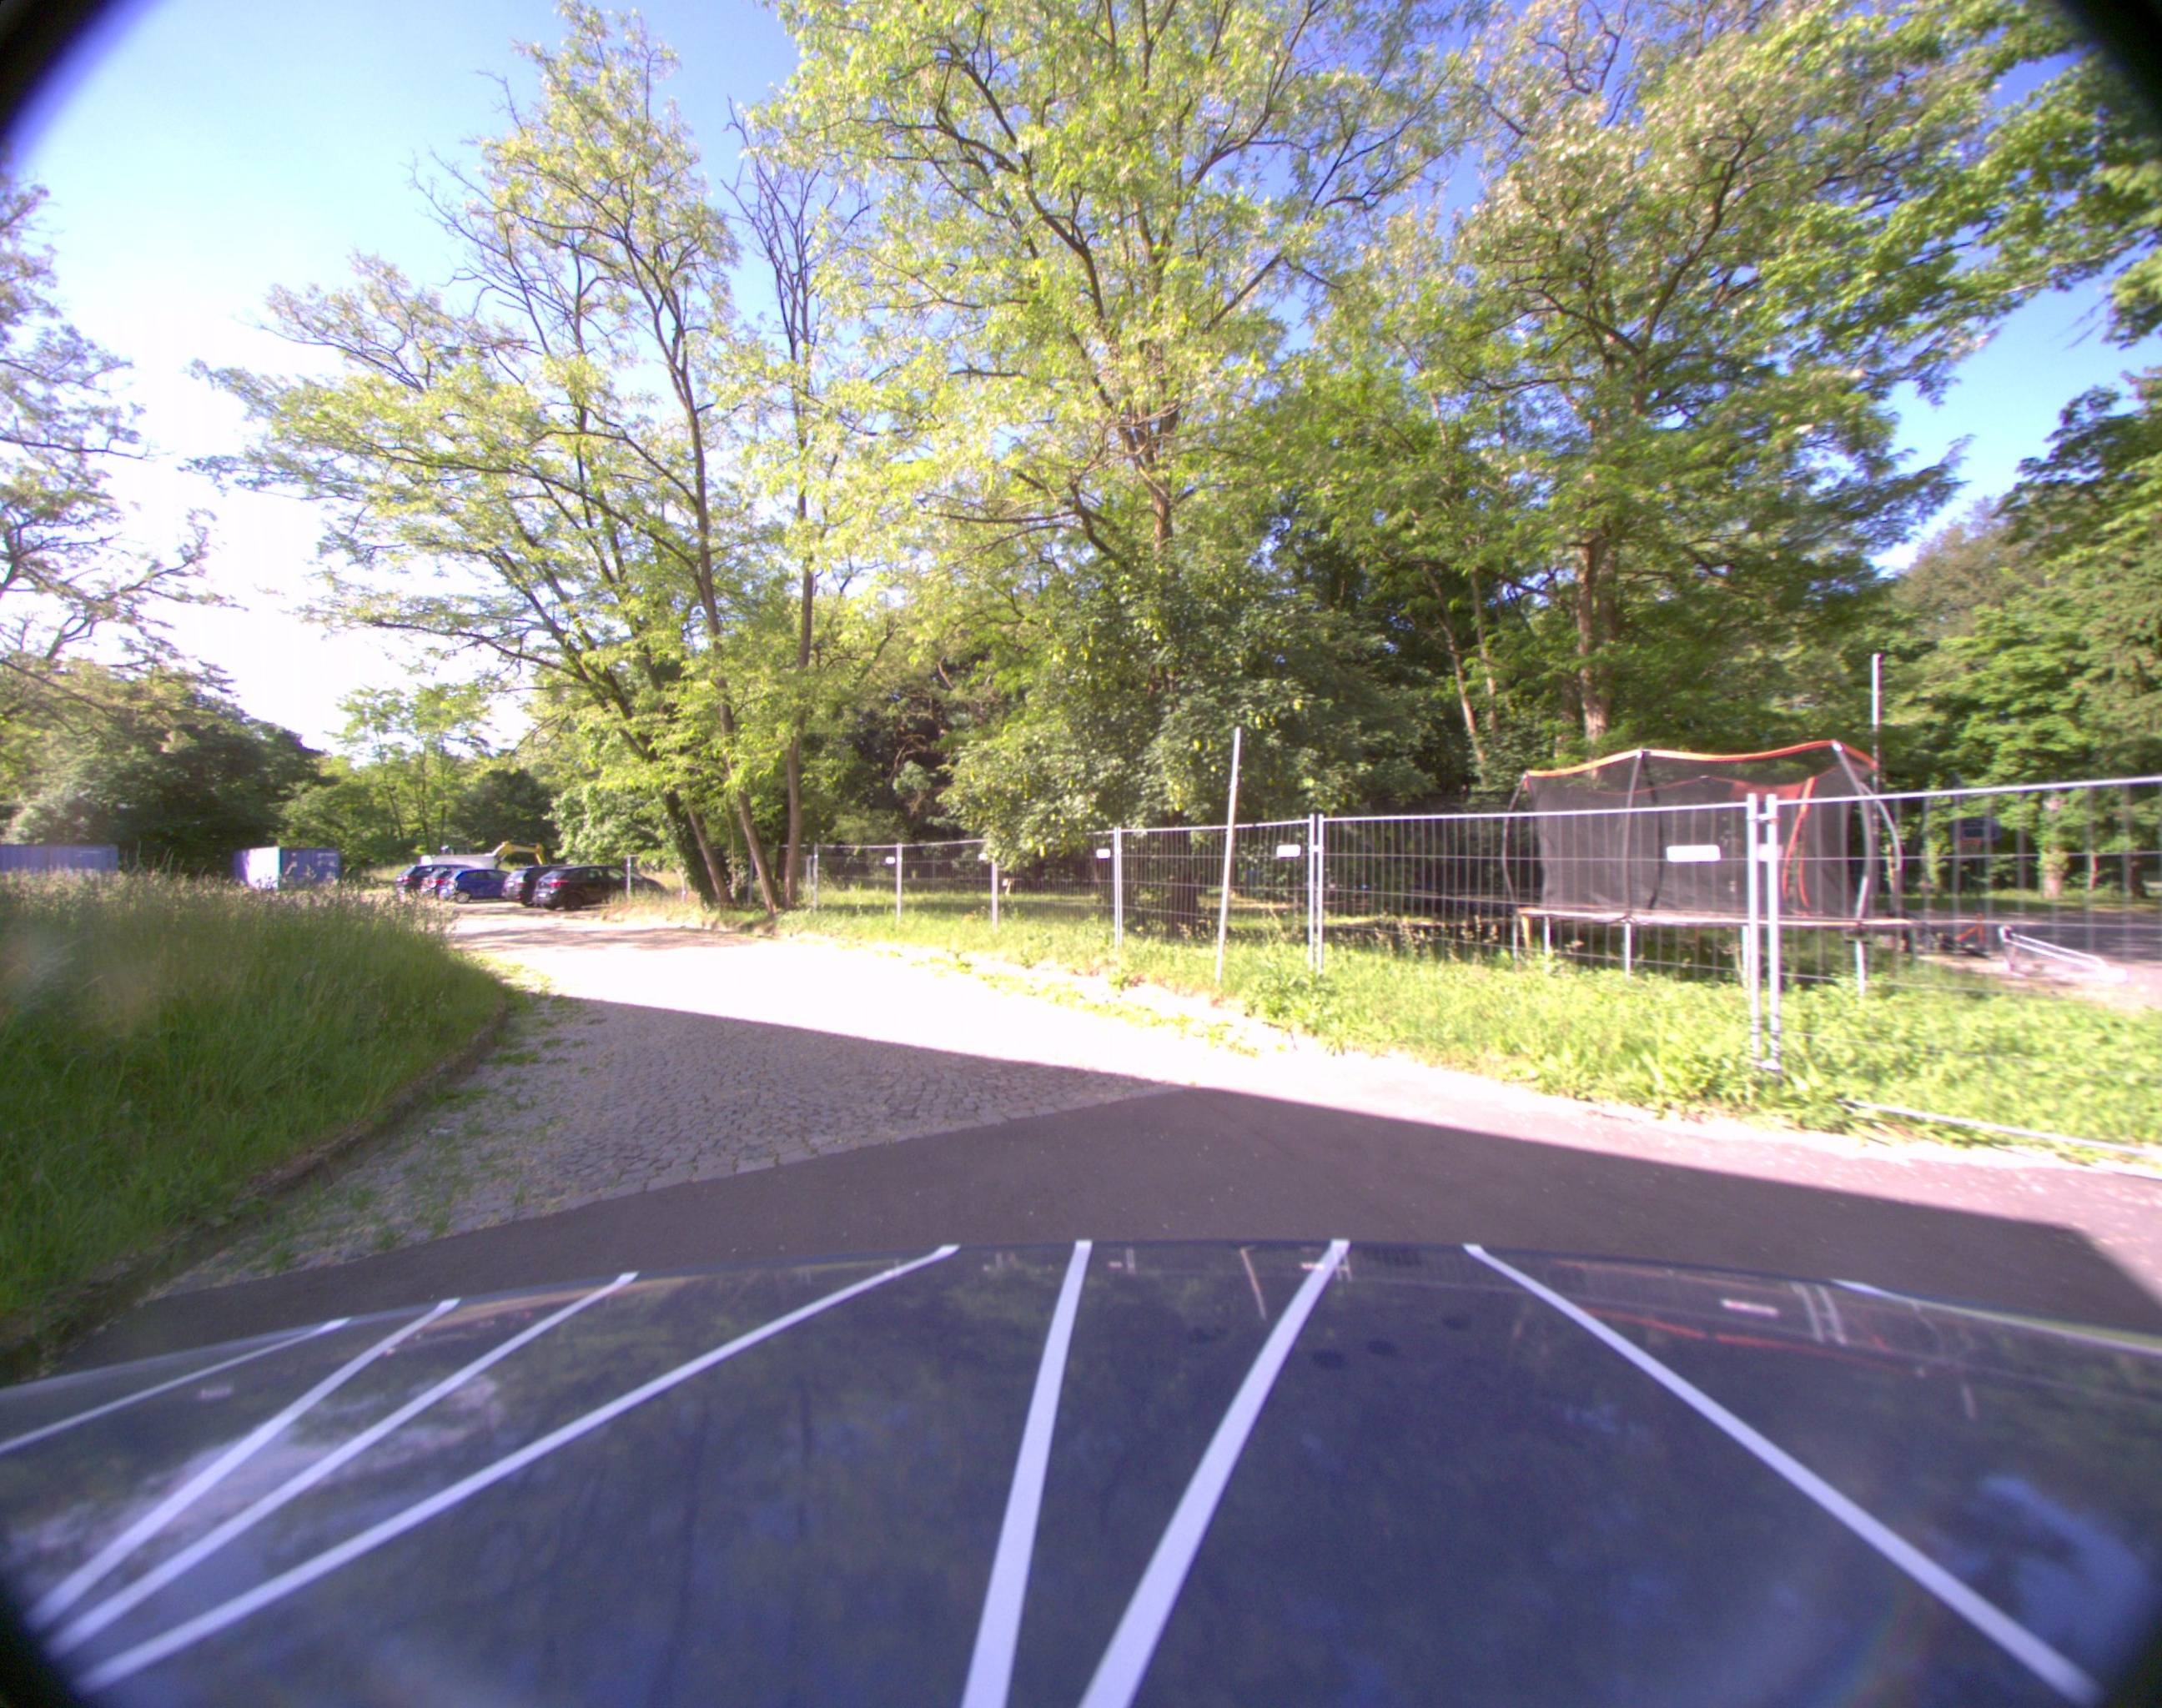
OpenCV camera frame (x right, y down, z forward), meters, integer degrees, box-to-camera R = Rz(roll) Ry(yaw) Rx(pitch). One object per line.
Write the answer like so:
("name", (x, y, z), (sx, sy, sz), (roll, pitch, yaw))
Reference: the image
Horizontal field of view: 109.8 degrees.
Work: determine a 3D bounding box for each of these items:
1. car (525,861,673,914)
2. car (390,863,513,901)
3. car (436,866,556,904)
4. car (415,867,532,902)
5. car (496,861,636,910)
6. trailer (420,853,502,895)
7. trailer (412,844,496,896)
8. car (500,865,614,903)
("car", (-18.179, 1.206, 28.871), (1.825, 1.580, 4.280), (-1, 3, 31))
("car", (-29.856, 1.263, 36.152), (1.965, 1.580, 4.139), (0, 1, 36))
("car", (-25.581, 1.316, 33.303), (1.780, 1.450, 3.797), (0, 1, 37))
("car", (-27.753, 1.347, 34.790), (1.890, 1.403, 3.797), (0, 1, 36))
("car", (-20.848, 1.207, 30.940), (1.875, 1.622, 4.280), (0, 2, 31))
("trailer", (-31.543, 0.968, 38.676), (1.819, 2.039, 2.856), (1, 1, 37))
("trailer", (-33.140, 0.803, 40.196), (2.259, 2.525, 2.855), (1, 4, 37))
("car", (-22.676, 1.238, 32.983), (1.739, 1.443, 3.732), (1, 1, 41))
